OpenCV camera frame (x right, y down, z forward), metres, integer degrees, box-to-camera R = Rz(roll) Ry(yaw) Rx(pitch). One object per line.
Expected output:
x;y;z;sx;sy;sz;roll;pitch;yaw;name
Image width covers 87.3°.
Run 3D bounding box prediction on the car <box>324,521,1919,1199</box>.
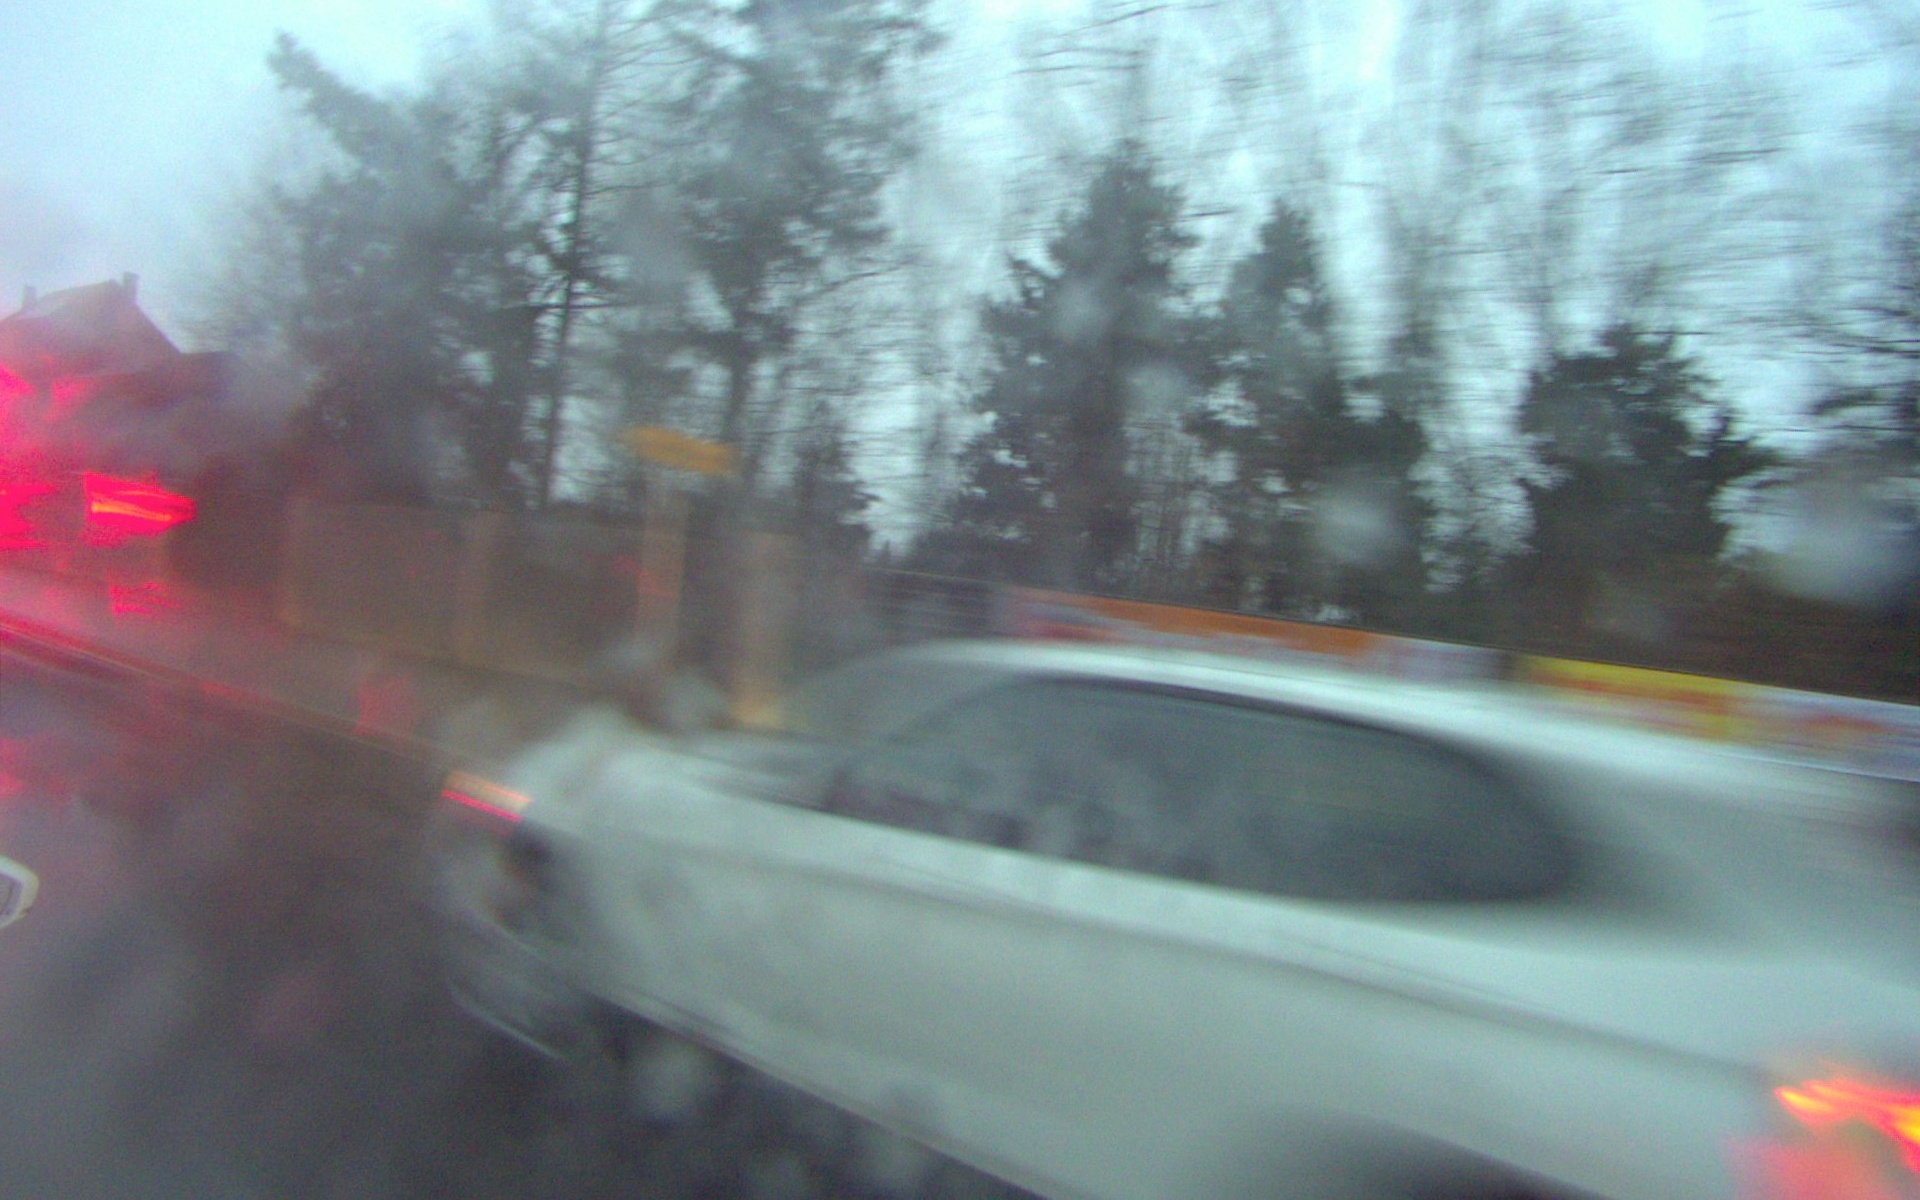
0.086;0.798;3.166;4.391;1.594;1.710;7;-1;33;car
